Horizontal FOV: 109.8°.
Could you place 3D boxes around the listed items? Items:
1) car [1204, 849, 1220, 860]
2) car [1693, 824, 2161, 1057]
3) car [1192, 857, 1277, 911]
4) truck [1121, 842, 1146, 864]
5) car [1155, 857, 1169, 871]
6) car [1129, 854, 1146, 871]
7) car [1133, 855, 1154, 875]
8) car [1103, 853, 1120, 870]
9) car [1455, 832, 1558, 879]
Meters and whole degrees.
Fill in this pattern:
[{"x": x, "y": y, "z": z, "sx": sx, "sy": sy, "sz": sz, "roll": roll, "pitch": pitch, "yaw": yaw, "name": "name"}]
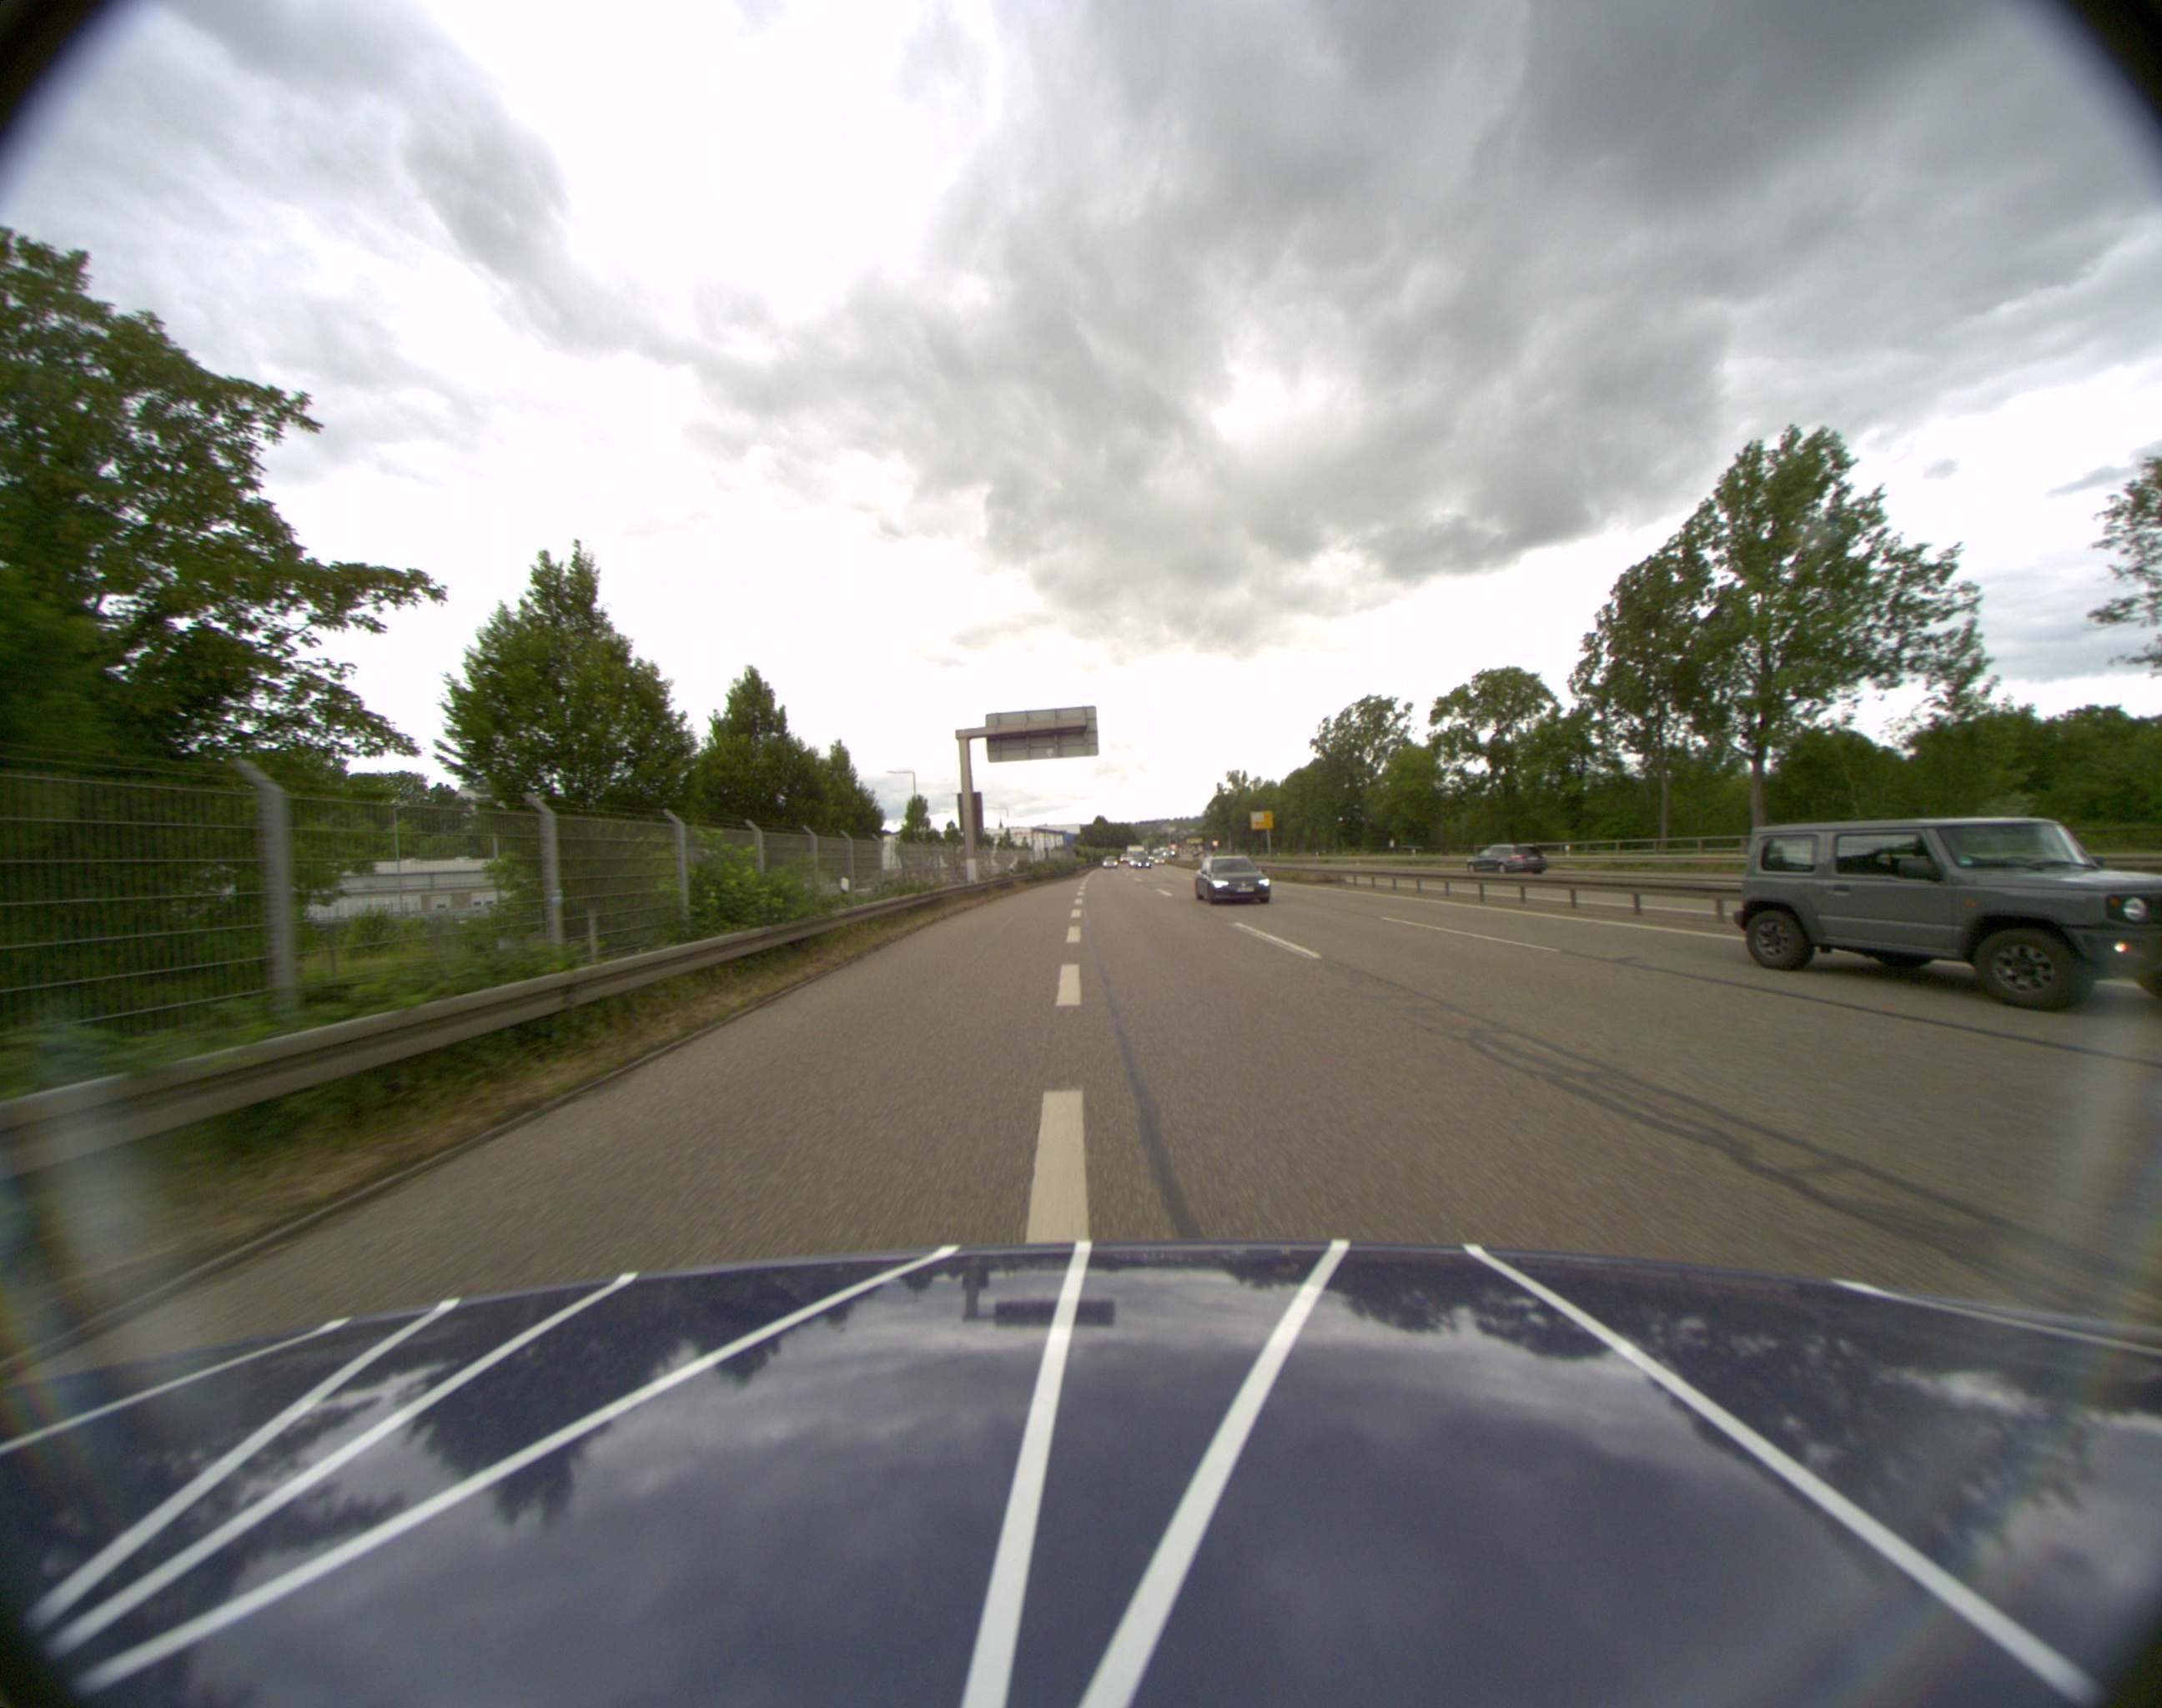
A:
[{"x": 23.358, "y": 0.092, "z": 135.461, "sx": 1.998, "sy": 2.002, "sz": 4.000, "roll": -2, "pitch": 0, "yaw": 0, "name": "car"}, {"x": 8.643, "y": 0.626, "z": 7.642, "sx": 1.685, "sy": 1.725, "sz": 3.998, "roll": -2, "pitch": 0, "yaw": -1, "name": "car"}, {"x": 4.740, "y": 0.887, "z": 24.110, "sx": 1.940, "sy": 1.492, "sz": 4.304, "roll": -2, "pitch": 0, "yaw": 2, "name": "car"}, {"x": 8.156, "y": -0.217, "z": 118.087, "sx": 3.040, "sy": 3.141, "sz": 7.565, "roll": -2, "pitch": 1, "yaw": -2, "name": "truck"}, {"x": 13.340, "y": 1.622, "z": 125.132, "sx": 1.998, "sy": 2.002, "sz": 4.001, "roll": -4, "pitch": 0, "yaw": 2, "name": "car"}, {"x": 7.236, "y": 1.086, "z": 97.518, "sx": 1.998, "sy": 2.002, "sz": 4.001, "roll": -4, "pitch": 0, "yaw": 2, "name": "car"}, {"x": 7.060, "y": 1.209, "z": 86.036, "sx": 1.998, "sy": 2.002, "sz": 4.001, "roll": -4, "pitch": 0, "yaw": 2, "name": "car"}, {"x": 3.898, "y": 0.949, "z": 98.182, "sx": 1.998, "sy": 2.002, "sz": 4.001, "roll": -4, "pitch": 0, "yaw": 2, "name": "car"}, {"x": 20.674, "y": 0.092, "z": 37.216, "sx": 1.998, "sy": 2.002, "sz": 5.221, "roll": -4, "pitch": 0, "yaw": 0, "name": "car"}]
